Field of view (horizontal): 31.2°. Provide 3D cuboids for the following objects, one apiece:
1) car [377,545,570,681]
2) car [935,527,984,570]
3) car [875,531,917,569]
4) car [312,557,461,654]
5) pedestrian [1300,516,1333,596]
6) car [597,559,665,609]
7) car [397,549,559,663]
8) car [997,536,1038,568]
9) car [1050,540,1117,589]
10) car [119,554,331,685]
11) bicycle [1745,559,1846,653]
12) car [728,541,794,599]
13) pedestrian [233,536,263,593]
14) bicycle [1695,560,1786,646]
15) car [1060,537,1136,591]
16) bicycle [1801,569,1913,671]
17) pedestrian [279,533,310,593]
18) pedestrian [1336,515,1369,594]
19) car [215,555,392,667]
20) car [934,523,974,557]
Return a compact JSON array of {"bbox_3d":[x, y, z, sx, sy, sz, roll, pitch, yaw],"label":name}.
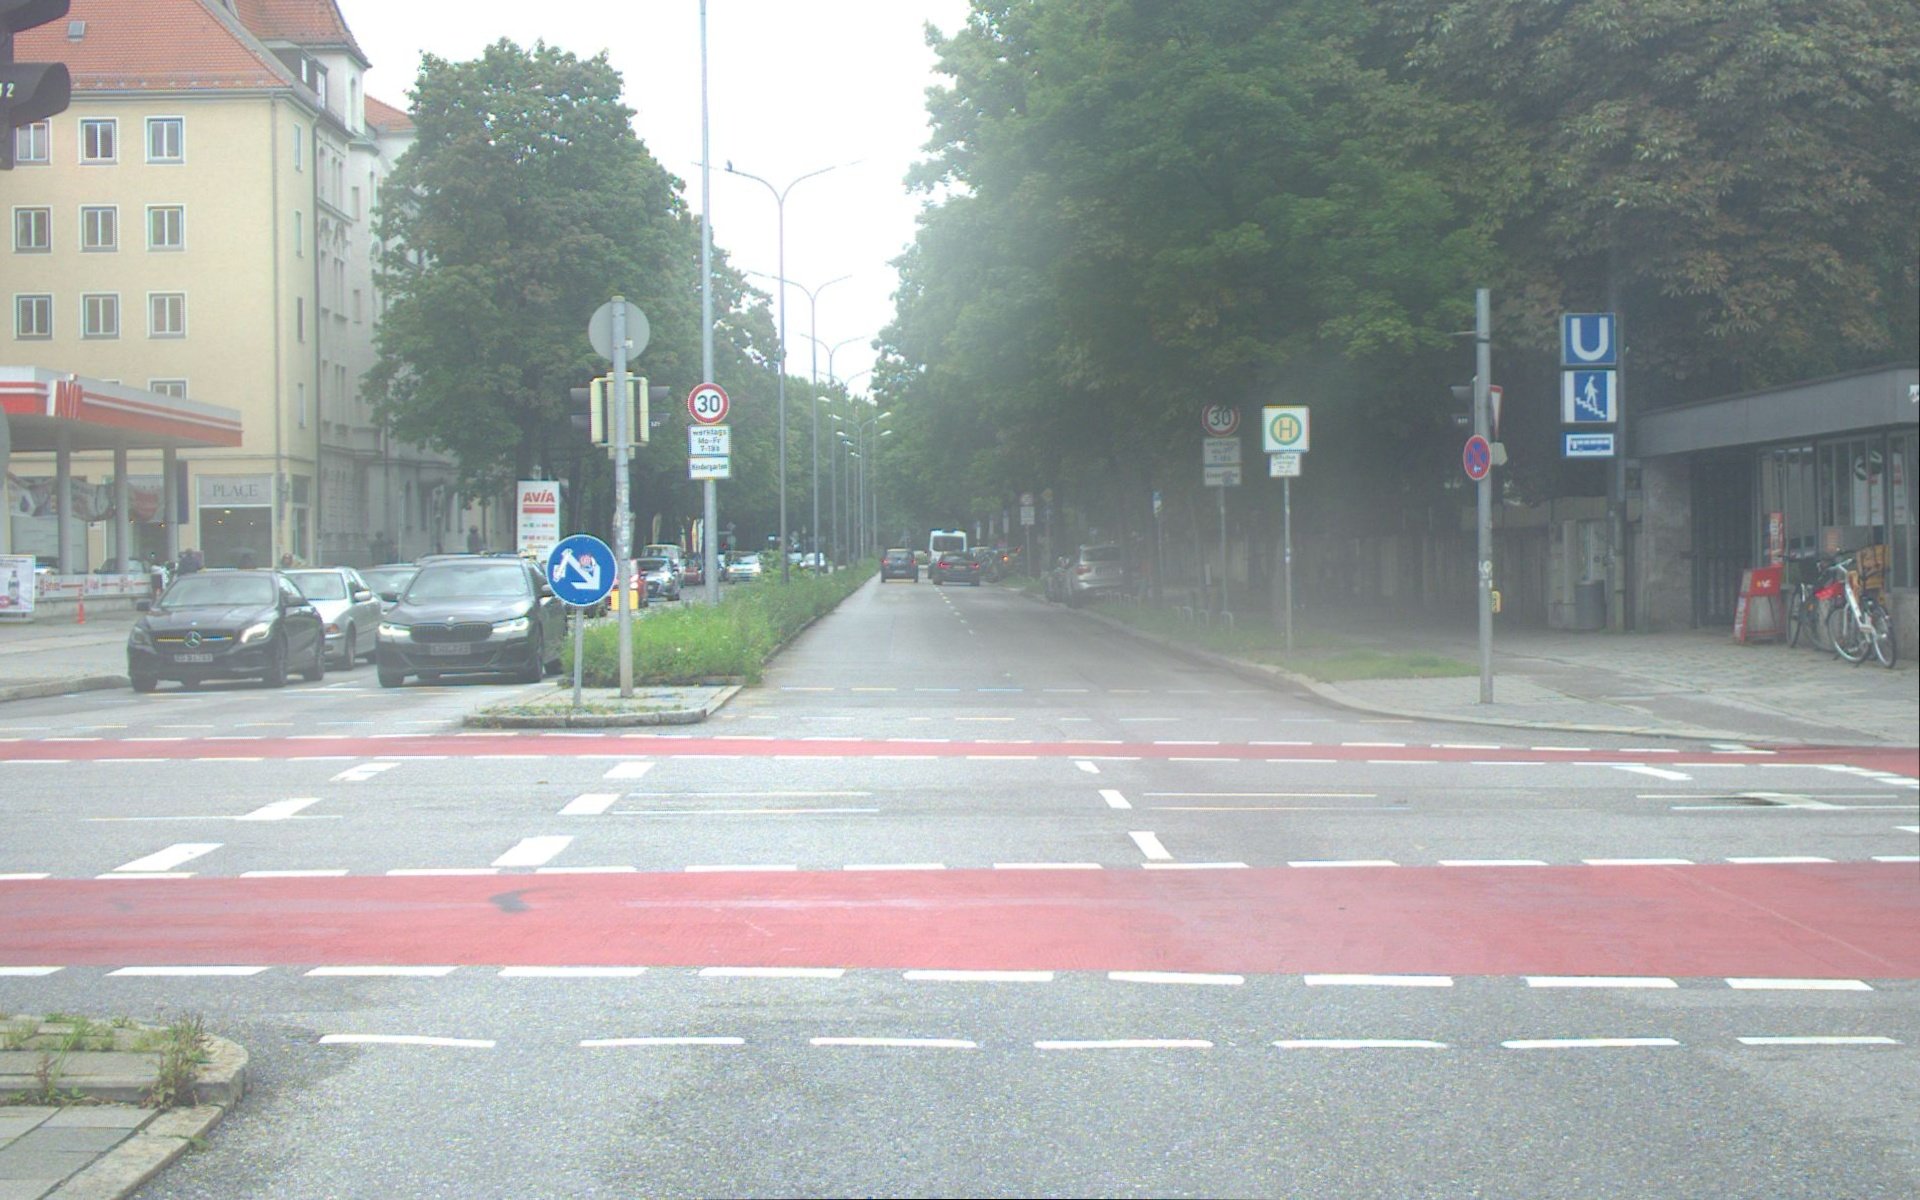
[{"bbox_3d":[-5.671,0.118,40.478,1.759,1.488,4.000,-1,1,-1],"label":"car"},{"bbox_3d":[-0.021,-2.078,140.004,1.922,1.678,4.000,1,0,-1],"label":"car"},{"bbox_3d":[-2.868,-2.264,155.055,1.857,1.678,4.000,-1,1,-1],"label":"car"},{"bbox_3d":[-9.103,0.060,54.858,1.759,1.455,4.000,-1,1,-1],"label":"car"},{"bbox_3d":[7.595,-0.938,73.324,0.678,1.677,0.682,0,1,5],"label":"pedestrian"},{"bbox_3d":[-10.195,-0.517,106.734,1.759,1.488,4.000,-1,1,-1],"label":"car"},{"bbox_3d":[-6.709,0.052,48.164,1.759,1.488,4.000,-1,1,-1],"label":"car"},{"bbox_3d":[2.651,-2.245,159.311,1.743,1.422,3.899,-1,1,-1],"label":"car"},{"bbox_3d":[3.571,-1.041,99.916,1.743,1.358,3.807,-1,1,-1],"label":"car"},{"bbox_3d":[-8.807,0.194,41.476,1.759,1.455,4.000,-1,1,-1],"label":"car"},{"bbox_3d":[9.420,0.055,38.838,0.556,1.011,2.016,-1,1,-3],"label":"bicycle"},{"bbox_3d":[-4.939,-0.762,85.645,1.468,1.394,3.700,-1,1,-1],"label":"car"},{"bbox_3d":[-20.621,-1.041,99.590,0.696,1.632,0.738,-1,1,-1],"label":"pedestrian"},{"bbox_3d":[9.581,0.029,42.264,0.556,1.011,2.016,-1,1,-3],"label":"bicycle"},{"bbox_3d":[3.592,-0.949,89.728,1.743,1.358,3.807,-1,1,-1],"label":"car"},{"bbox_3d":[9.409,0.194,36.106,0.556,1.011,2.016,-1,1,-3],"label":"bicycle"},{"bbox_3d":[-18.062,-1.008,93.334,0.696,1.632,0.738,-1,1,-1],"label":"pedestrian"},{"bbox_3d":[8.393,-0.969,73.531,0.678,1.677,0.682,0,1,5],"label":"pedestrian"},{"bbox_3d":[-9.113,0.126,48.022,1.759,1.455,4.000,-1,1,-1],"label":"car"},{"bbox_3d":[-0.309,-3.141,179.437,1.993,1.750,4.000,-1,1,-1],"label":"car"}]
